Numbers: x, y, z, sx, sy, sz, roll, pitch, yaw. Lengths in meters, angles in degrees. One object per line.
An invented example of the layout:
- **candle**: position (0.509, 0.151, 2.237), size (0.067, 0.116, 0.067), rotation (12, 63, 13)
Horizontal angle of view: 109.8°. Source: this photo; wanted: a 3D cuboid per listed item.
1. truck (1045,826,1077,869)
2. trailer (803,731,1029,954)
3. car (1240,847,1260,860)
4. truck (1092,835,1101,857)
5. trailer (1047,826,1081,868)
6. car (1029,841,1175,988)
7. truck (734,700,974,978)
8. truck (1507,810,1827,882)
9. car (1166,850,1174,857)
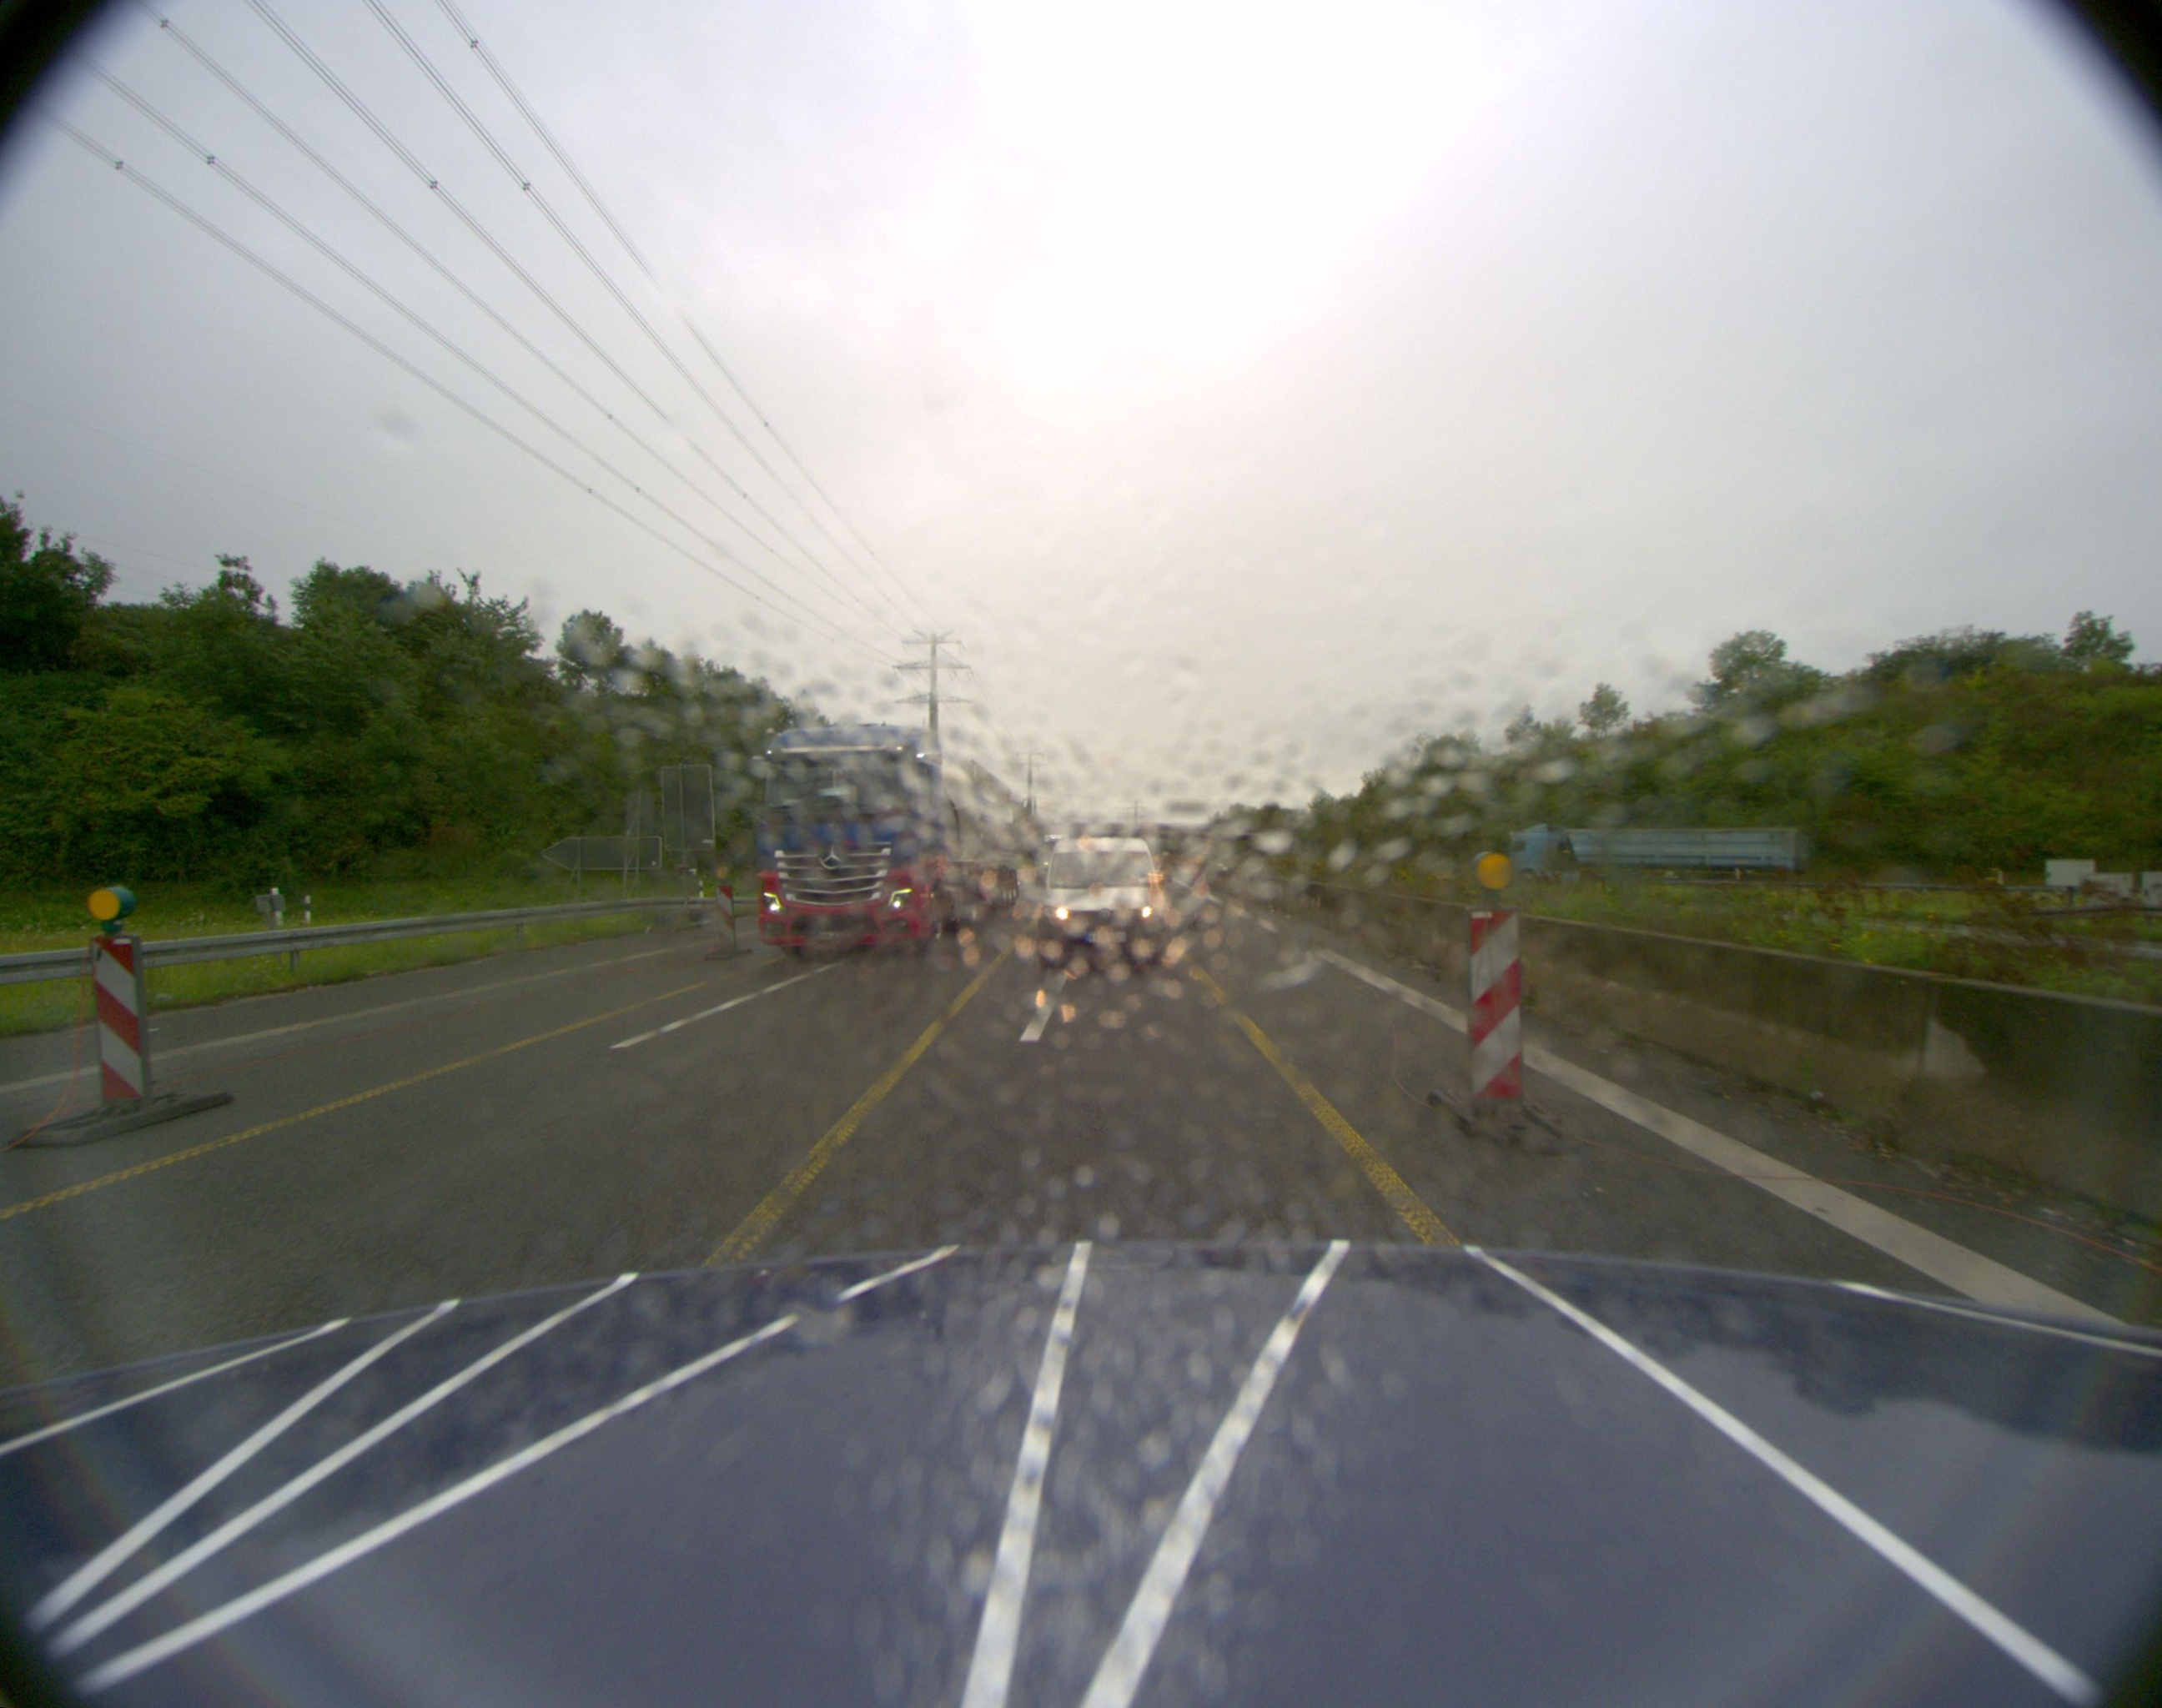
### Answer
- **truck**: position (-1.880, -0.623, 73.635), size (2.748, 3.912, 5.397), rotation (-2, 1, 2)
- **trailer**: position (-3.317, -0.298, 19.513), size (2.525, 3.812, 12.350), rotation (-2, 1, 2)
- **car**: position (23.688, -0.025, 106.679), size (1.998, 1.779, 4.229), rotation (0, 0, 0)
- **truck**: position (4.024, -2.081, 199.963), size (2.276, 3.693, 6.634), rotation (-2, 20, 2)
- **trailer**: position (-1.636, -0.775, 80.987), size (2.808, 3.980, 14.148), rotation (-2, 1, 2)
- **car**: position (0.283, 0.749, 11.822), size (1.770, 1.774, 4.647), rotation (-2, 0, 0)
- **truck**: position (-3.569, -0.229, 12.984), size (2.553, 3.924, 4.000), rotation (-2, 1, 3)
- **truck**: position (33.262, -0.406, 44.432), size (2.906, 3.598, 14.539), rotation (0, 0, -38)
- **car**: position (28.934, -0.095, 246.199), size (2.245, 2.426, 5.884), rotation (0, 0, 4)
